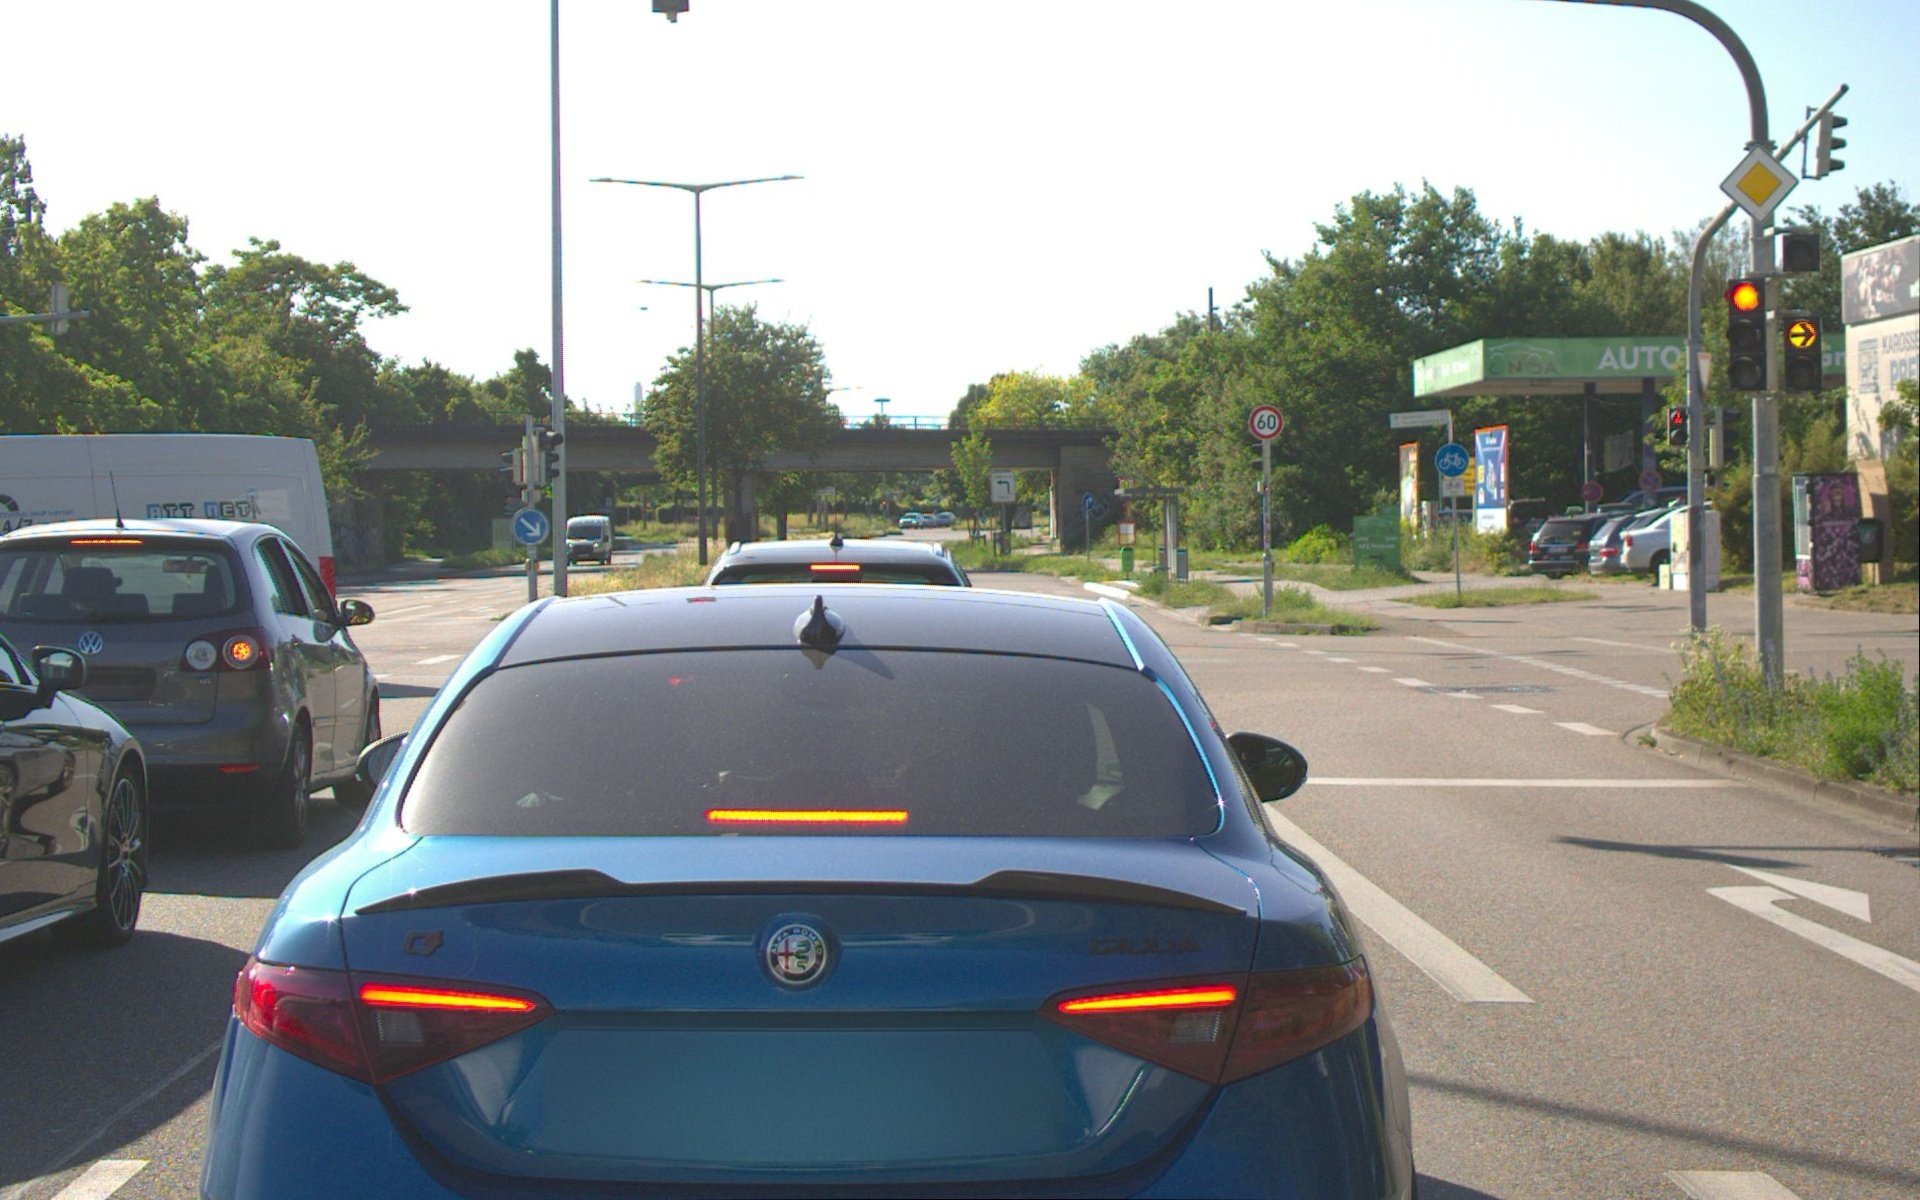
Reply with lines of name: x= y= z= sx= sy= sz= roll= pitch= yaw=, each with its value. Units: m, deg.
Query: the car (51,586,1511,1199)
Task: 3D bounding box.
car: x=-0.253 y=0.702 z=6.374 sx=1.866 sy=1.380 sz=3.932 roll=0 pitch=1 yaw=-1

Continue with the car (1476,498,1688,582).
car: x=12.828 y=-1.241 z=70.965 sx=3.986 sy=1.700 sz=1.696 roll=-1 pitch=1 yaw=-19

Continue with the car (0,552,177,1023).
car: x=-3.798 y=0.576 z=10.643 sx=1.768 sy=1.409 sz=4.461 roll=0 pitch=1 yaw=-1

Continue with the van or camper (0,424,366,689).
van or camper: x=-9.496 y=-0.451 z=34.519 sx=6.734 sy=2.563 sz=2.184 roll=-1 pitch=2 yaw=-39

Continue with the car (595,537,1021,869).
car: x=-0.691 y=0.417 z=17.081 sx=1.866 sy=1.445 sz=3.932 roll=0 pitch=1 yaw=-1

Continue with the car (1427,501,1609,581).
car: x=12.027 y=-1.278 z=74.156 sx=3.483 sy=1.700 sz=1.696 roll=-1 pitch=1 yaw=-16

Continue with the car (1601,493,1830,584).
car: x=14.519 y=-1.188 z=66.110 sx=3.986 sy=1.700 sz=1.696 roll=-1 pitch=1 yaw=-16

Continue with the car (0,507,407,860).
car: x=-3.949 y=0.337 z=17.547 sx=1.648 sy=1.593 sz=3.932 roll=0 pitch=1 yaw=-1

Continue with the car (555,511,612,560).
car: x=-19.101 y=-3.300 z=174.712 sx=2.431 sy=2.418 sz=5.831 roll=0 pitch=1 yaw=-2
